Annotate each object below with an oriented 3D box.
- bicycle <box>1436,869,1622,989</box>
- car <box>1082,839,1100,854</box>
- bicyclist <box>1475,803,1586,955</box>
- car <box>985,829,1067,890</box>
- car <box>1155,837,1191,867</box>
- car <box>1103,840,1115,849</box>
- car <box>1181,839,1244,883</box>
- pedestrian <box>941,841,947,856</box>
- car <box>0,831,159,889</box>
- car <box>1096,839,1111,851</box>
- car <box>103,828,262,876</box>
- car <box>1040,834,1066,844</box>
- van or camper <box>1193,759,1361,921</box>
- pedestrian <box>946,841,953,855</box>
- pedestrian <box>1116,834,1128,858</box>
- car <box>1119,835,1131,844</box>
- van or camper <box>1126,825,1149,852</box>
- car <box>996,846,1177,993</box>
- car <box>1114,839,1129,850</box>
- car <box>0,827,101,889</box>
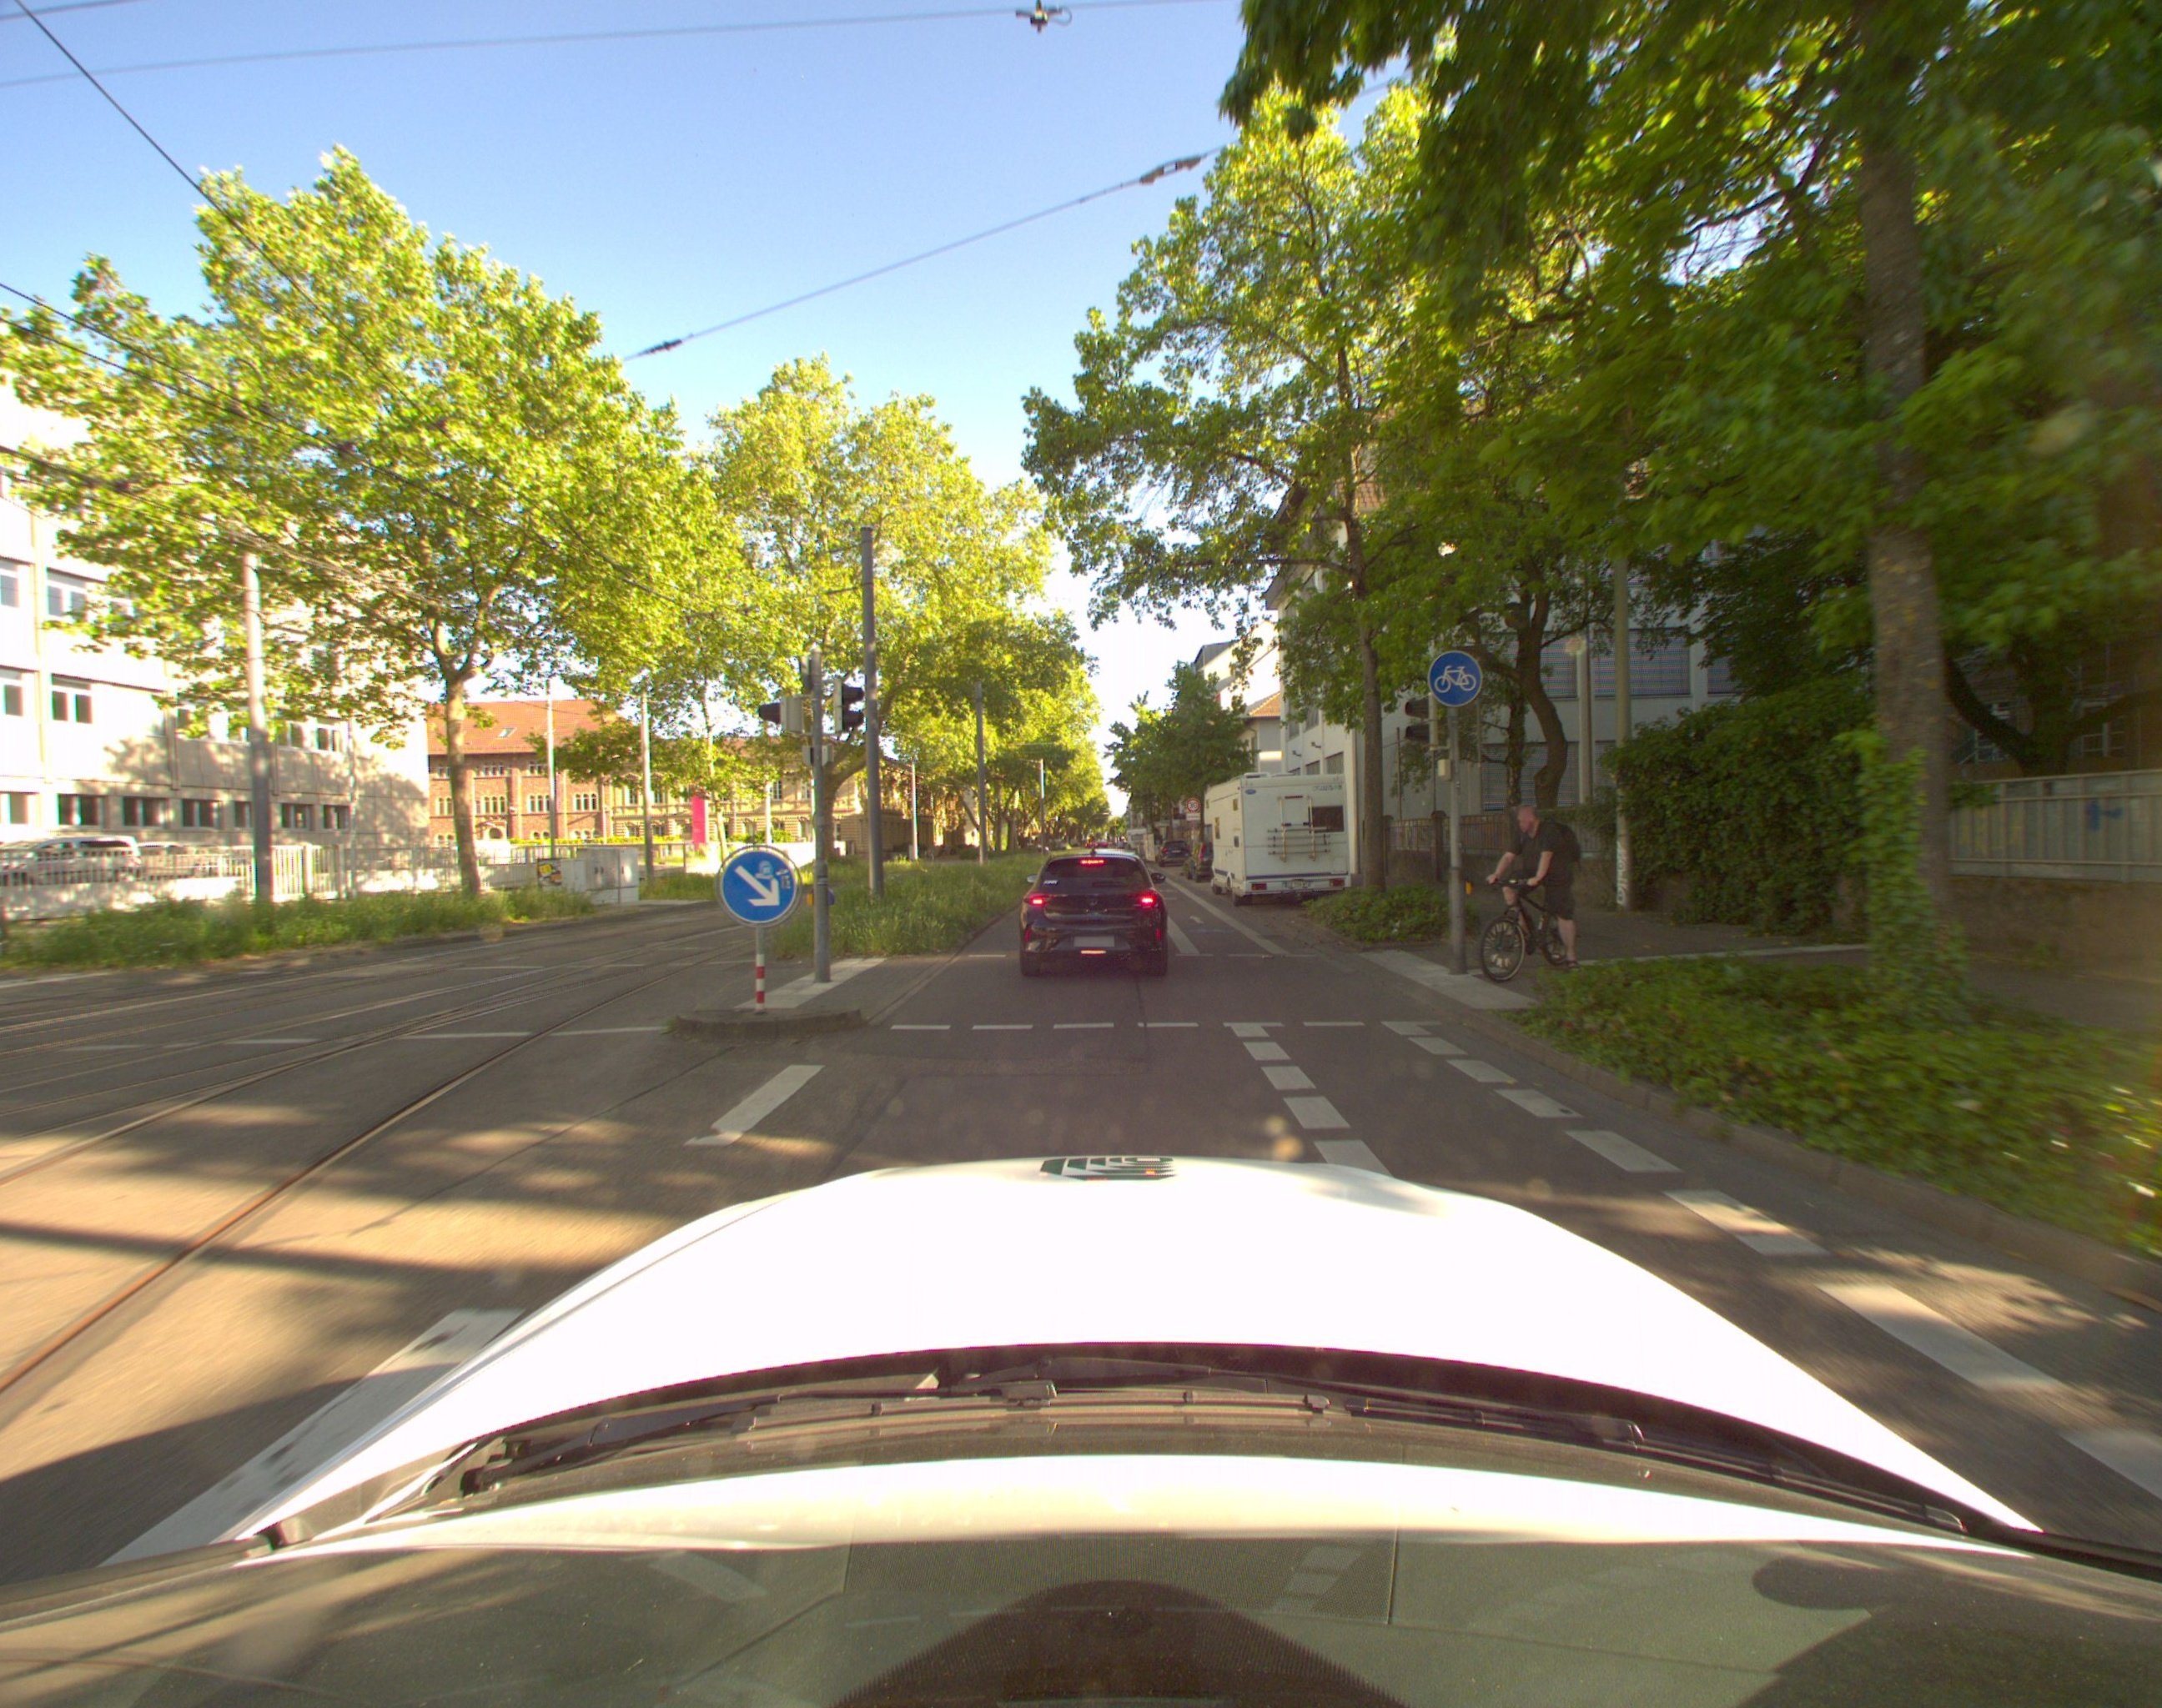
[{"bbox_3d":[4.695,0.737,8.524,1.952,1.070,0.637,-1,2,-23],"label":"bicycle"},{"bbox_3d":[1.172,-0.845,91.422,1.783,1.510,3.877,-2,2,3],"label":"car"},{"bbox_3d":[4.696,0.229,8.531,0.702,1.509,0.746,-1,2,-22],"label":"bicyclist"},{"bbox_3d":[-1.525,0.077,24.386,1.986,1.627,4.473,1,2,2],"label":"car"},{"bbox_3d":[5.273,-0.143,47.069,1.783,1.510,3.877,-2,2,3],"label":"car"},{"bbox_3d":[4.796,-1.727,140.531,1.897,1.425,4.220,-1,2,3],"label":"car"},{"bbox_3d":[4.818,0.205,30.239,1.680,1.420,4.049,-2,2,0],"label":"car"},{"bbox_3d":[-16.509,-0.676,98.178,0.616,1.733,0.596,1,2,1],"label":"pedestrian"},{"bbox_3d":[-33.566,0.151,26.436,1.983,1.703,4.388,-1,2,7],"label":"car"},{"bbox_3d":[3.023,-1.207,108.698,1.897,1.425,4.220,-1,2,3],"label":"car"},{"bbox_3d":[-40.958,-0.108,37.232,4.730,2.013,1.998,-1,2,-4],"label":"car"},{"bbox_3d":[-6.502,-3.458,189.933,5.665,2.197,2.291,-1,1,2],"label":"car"},{"bbox_3d":[4.472,-0.395,20.159,2.367,3.124,7.555,-4,2,2],"label":"van or camper"},{"bbox_3d":[-15.851,-0.691,98.188,0.656,1.621,0.616,1,2,1],"label":"pedestrian"},{"bbox_3d":[3.612,-0.713,71.603,1.032,2.024,1.213,0,2,1],"label":"pedestrian"},{"bbox_3d":[6.886,-2.282,127.554,1.897,1.425,4.220,-1,2,3],"label":"car"},{"bbox_3d":[6.444,-1.837,93.618,2.476,2.993,5.440,1,2,3],"label":"van or camper"},{"bbox_3d":[0.182,0.674,10.702,1.897,1.425,4.220,-1,2,3],"label":"car"},{"bbox_3d":[5.372,-1.275,108.147,1.897,1.425,4.220,-1,2,3],"label":"car"},{"bbox_3d":[-36.556,0.144,27.019,1.983,2.013,4.735,-1,2,7],"label":"car"}]
